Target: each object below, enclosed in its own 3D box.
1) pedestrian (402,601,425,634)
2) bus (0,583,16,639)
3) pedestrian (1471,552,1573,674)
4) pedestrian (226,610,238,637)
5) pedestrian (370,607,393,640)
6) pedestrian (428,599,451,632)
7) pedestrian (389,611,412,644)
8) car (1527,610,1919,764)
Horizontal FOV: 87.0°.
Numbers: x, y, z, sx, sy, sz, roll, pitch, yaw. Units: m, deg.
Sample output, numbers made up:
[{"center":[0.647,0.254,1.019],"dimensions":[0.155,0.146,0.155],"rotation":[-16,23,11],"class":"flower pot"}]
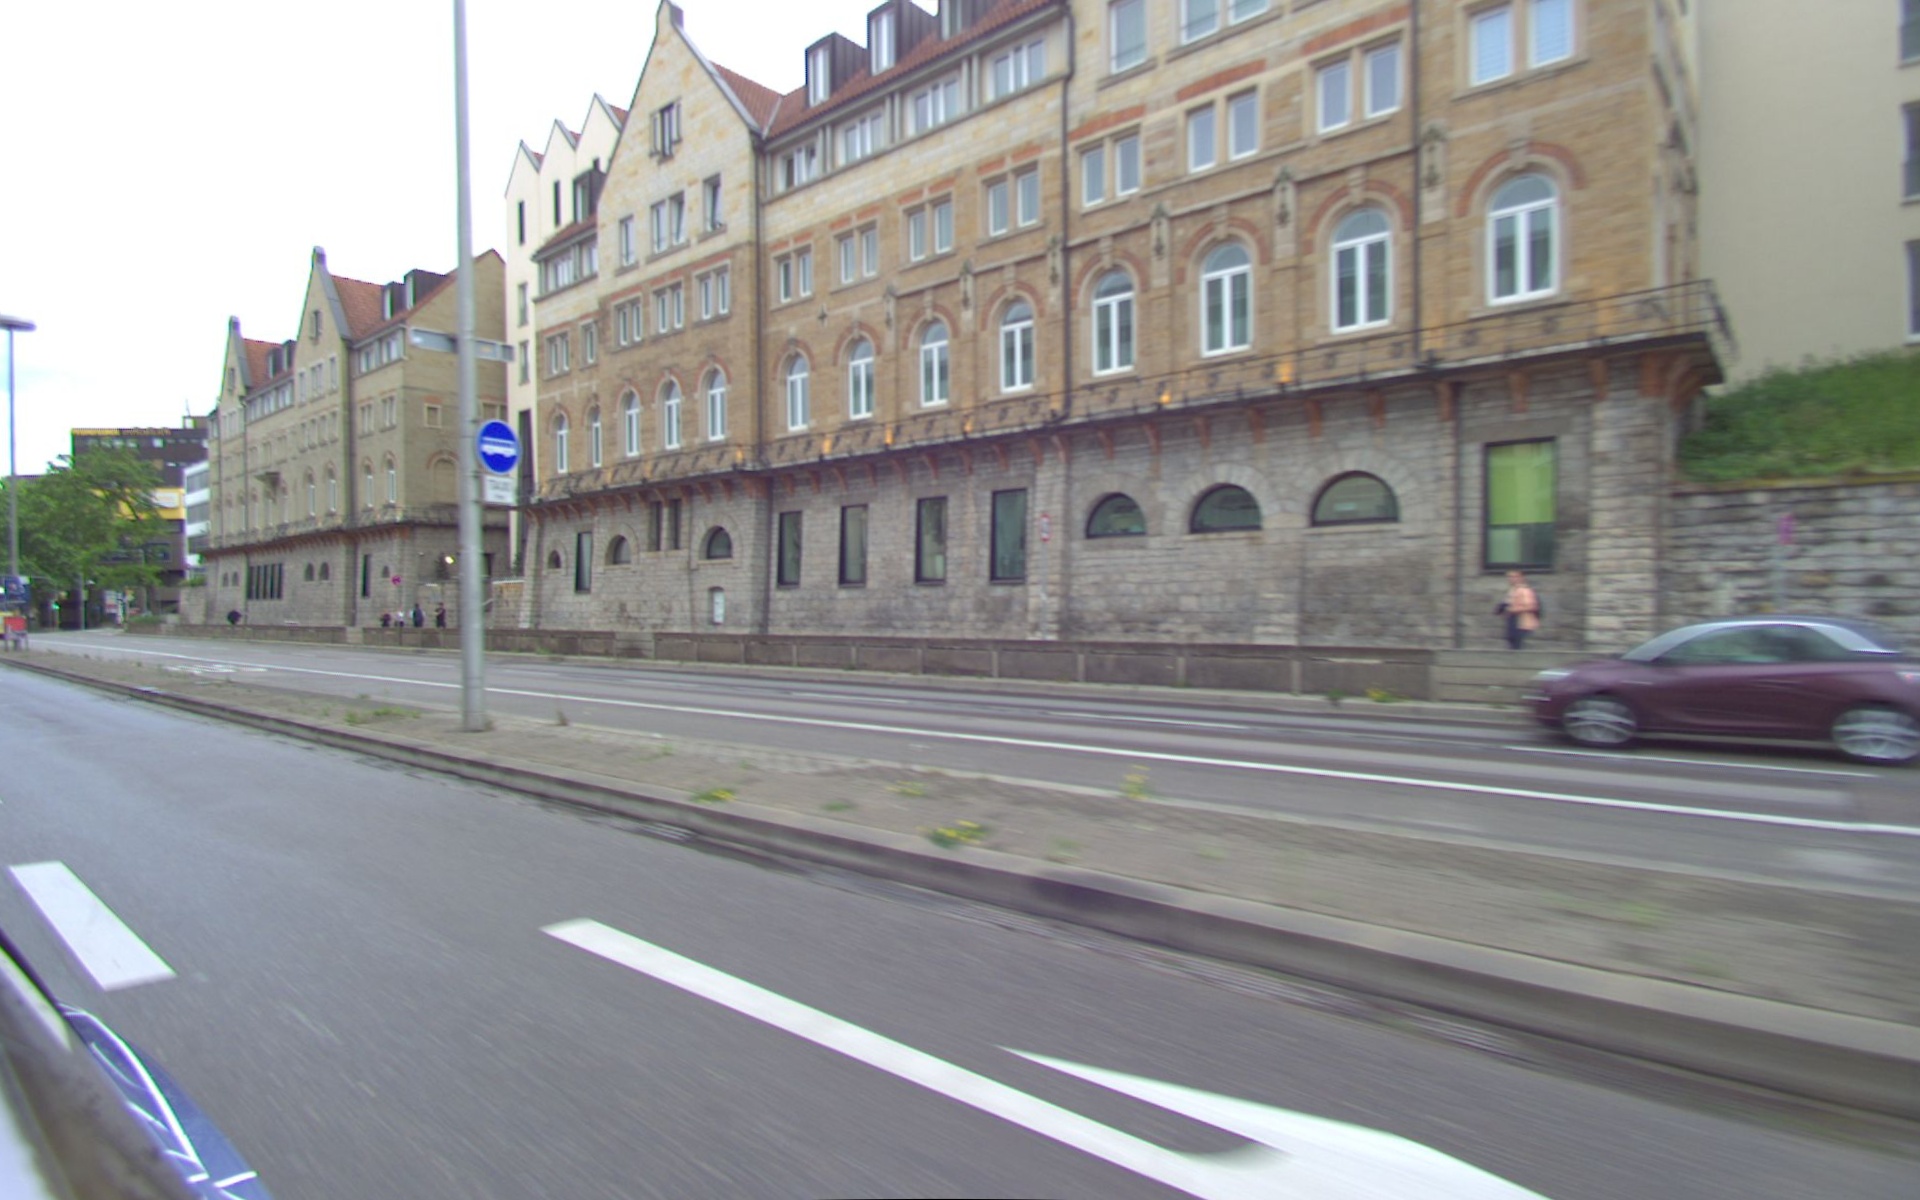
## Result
[{"center":[-25.406,0.810,47.071],"dimensions":[0.713,1.489,0.746],"rotation":[-3,-3,40],"class":"pedestrian"},{"center":[-65.980,0.766,67.986],"dimensions":[10.087,3.586,2.670],"rotation":[-1,-1,41],"class":"bus"},{"center":[8.983,0.213,16.218],"dimensions":[0.868,1.881,1.064],"rotation":[-1,-2,-15],"class":"pedestrian"},{"center":[-48.827,1.565,67.872],"dimensions":[0.632,1.759,0.622],"rotation":[0,-3,-35],"class":"pedestrian"},{"center":[-26.520,1.090,46.385],"dimensions":[0.713,1.489,0.746],"rotation":[-3,-3,40],"class":"pedestrian"},{"center":[-24.282,0.726,47.204],"dimensions":[0.713,1.489,0.746],"rotation":[-3,-3,40],"class":"pedestrian"},{"center":[-25.999,1.266,47.005],"dimensions":[0.713,1.489,0.746],"rotation":[-3,-3,40],"class":"pedestrian"},{"center":[8.393,0.847,10.900],"dimensions":[3.722,1.418,1.730],"rotation":[-2,-2,40],"class":"car"}]
